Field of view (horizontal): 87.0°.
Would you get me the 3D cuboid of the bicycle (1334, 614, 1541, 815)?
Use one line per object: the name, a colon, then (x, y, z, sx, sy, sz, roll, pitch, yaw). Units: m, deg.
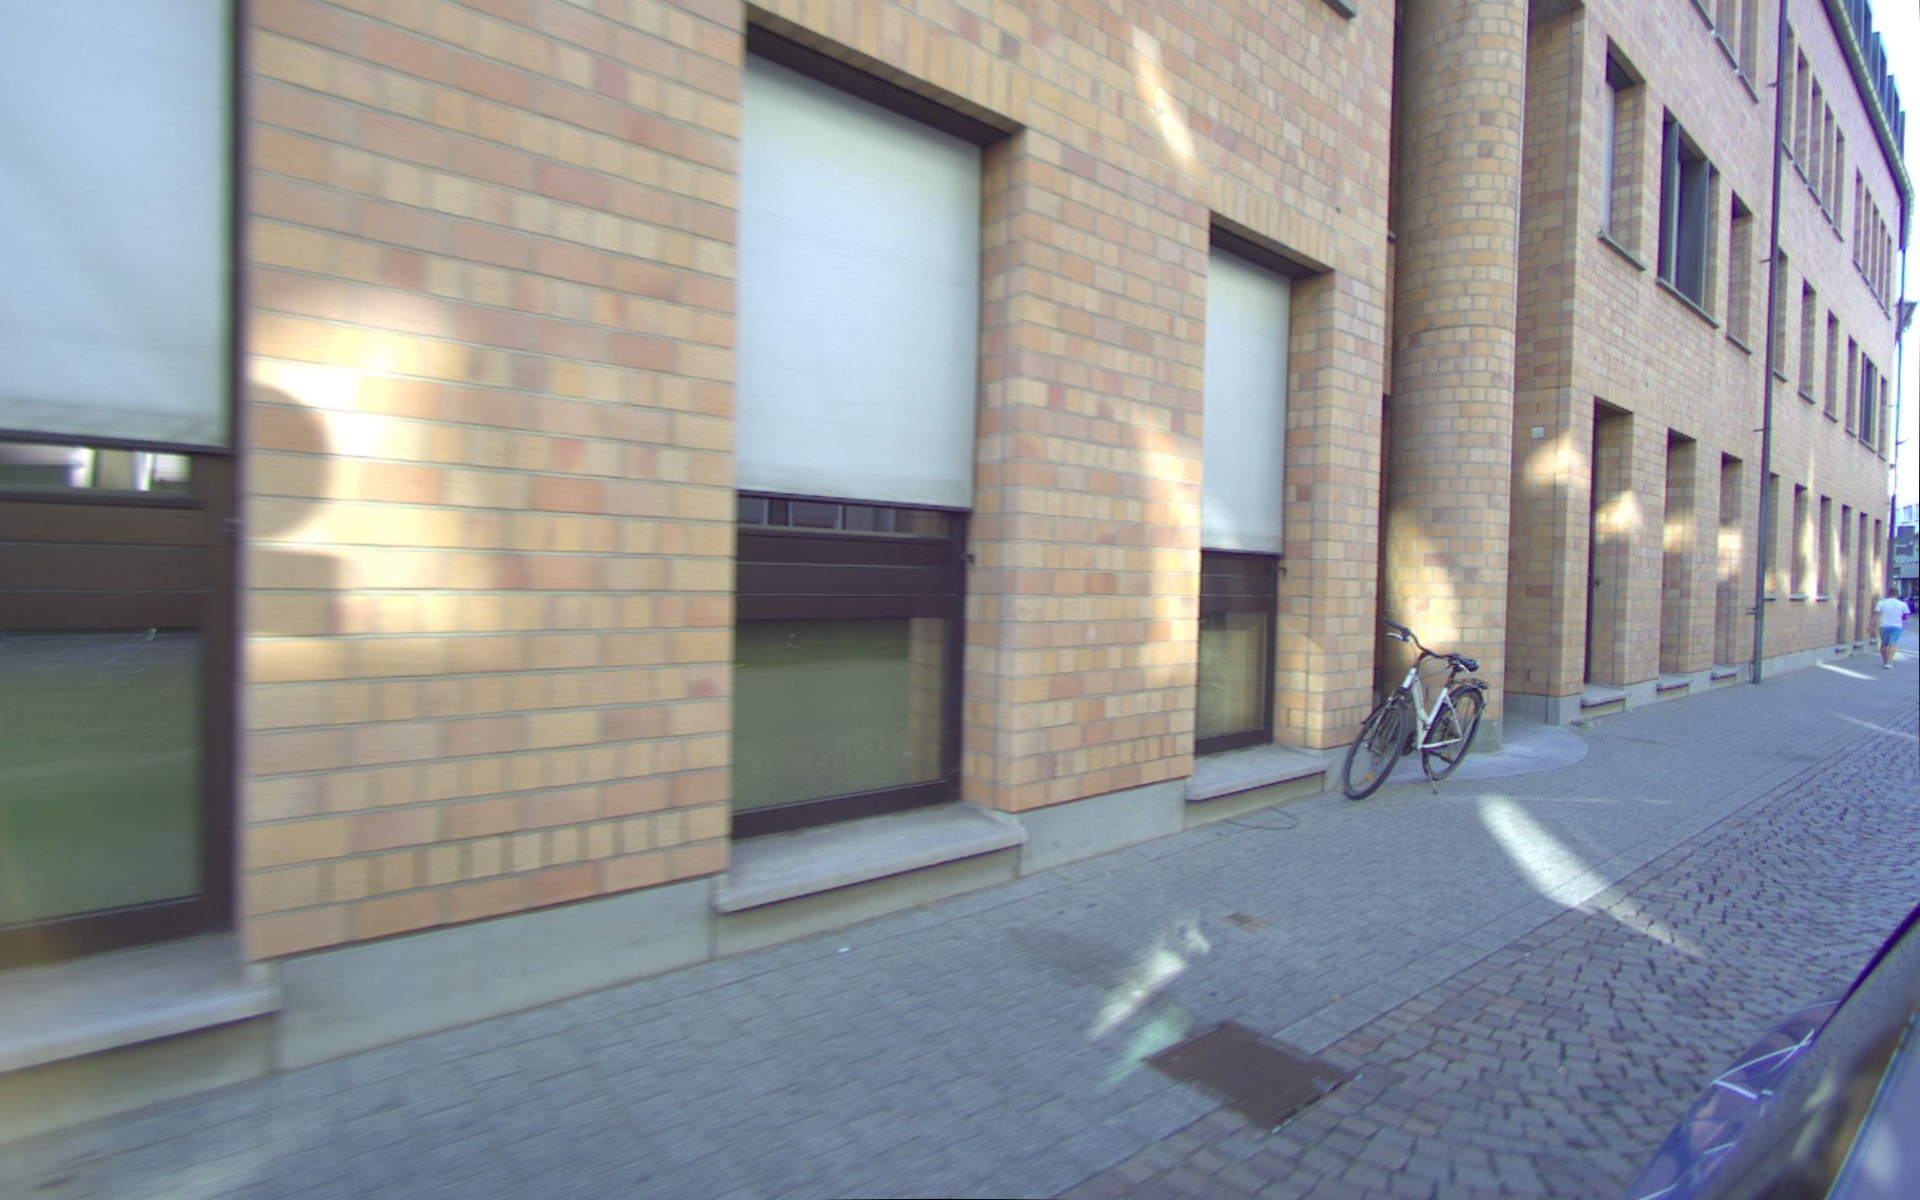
bicycle: (3.292, 0.696, 6.880, 1.949, 1.116, 0.550, 0, 5, -44)

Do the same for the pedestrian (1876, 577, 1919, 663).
pedestrian: (19.940, 0.409, 21.323, 0.807, 1.737, 0.762, 0, 4, -42)
